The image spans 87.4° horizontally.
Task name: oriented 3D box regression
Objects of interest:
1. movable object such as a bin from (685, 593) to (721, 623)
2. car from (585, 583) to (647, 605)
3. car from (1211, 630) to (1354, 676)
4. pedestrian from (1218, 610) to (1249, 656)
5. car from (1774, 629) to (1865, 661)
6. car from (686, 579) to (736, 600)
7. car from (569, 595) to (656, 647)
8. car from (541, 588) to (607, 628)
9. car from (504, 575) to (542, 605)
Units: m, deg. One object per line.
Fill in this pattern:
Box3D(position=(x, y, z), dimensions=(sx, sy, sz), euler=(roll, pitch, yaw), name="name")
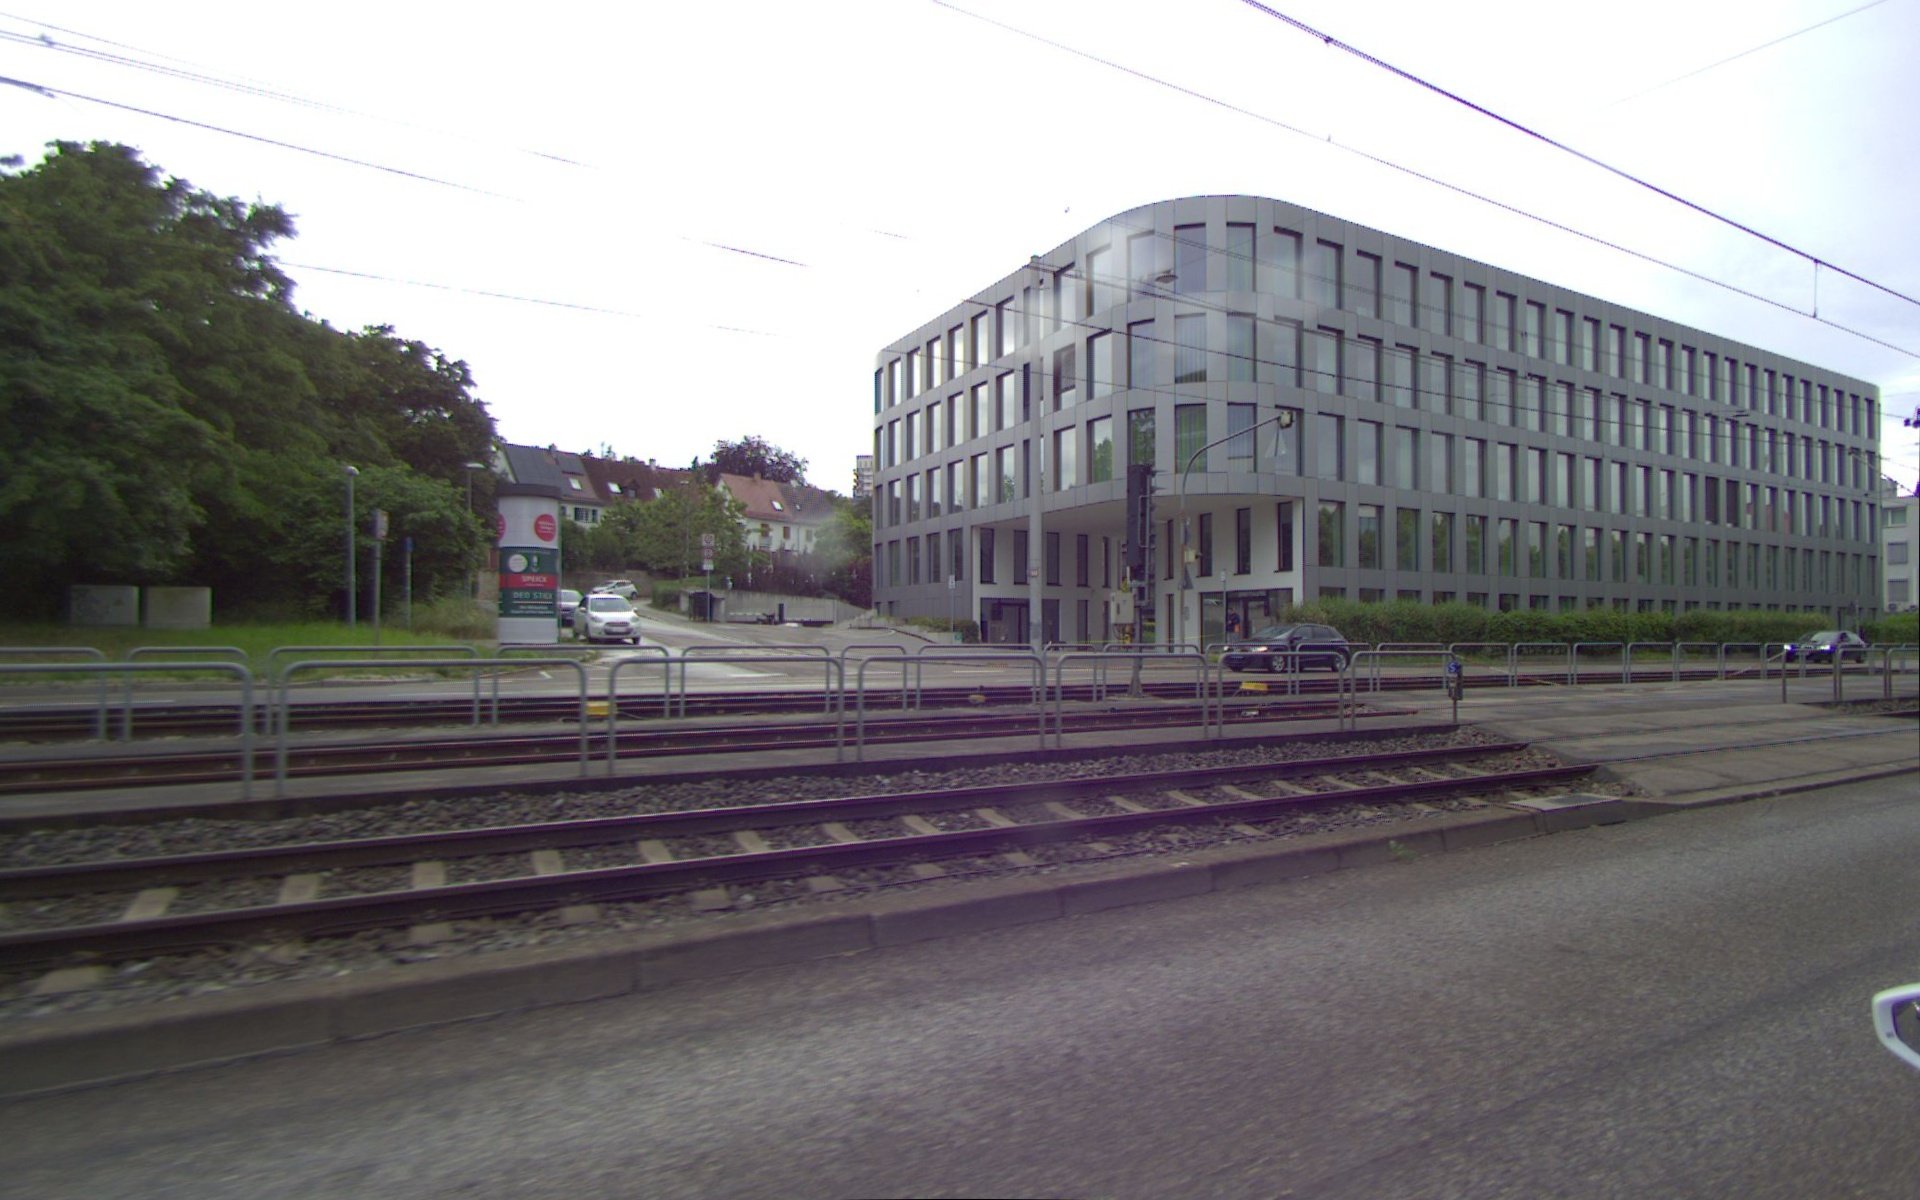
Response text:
Box3D(position=(-12.649, 0.401, 49.447), dimensions=(1.261, 1.414, 1.258), euler=(2, 1, -37), name="movable object such as a bin")
Box3D(position=(-25.039, -0.429, 73.312), dimensions=(1.910, 1.510, 4.020), euler=(3, 0, 29), name="car")
Box3D(position=(9.277, 1.515, 28.837), dimensions=(3.941, 1.260, 1.748), euler=(2, -2, -30), name="car")
Box3D(position=(10.173, 1.217, 37.366), dimensions=(0.835, 1.669, 0.721), euler=(2, -1, -29), name="pedestrian")
Box3D(position=(38.158, 2.011, 44.564), dimensions=(4.209, 1.364, 1.790), euler=(2, -2, -30), name="car")
Box3D(position=(-20.197, -0.838, 81.600), dimensions=(1.862, 1.512, 3.872), euler=(1, -1, 27), name="car")
Box3D(position=(-11.484, 0.664, 33.089), dimensions=(1.904, 1.472, 3.898), euler=(2, 1, -31), name="car")
Box3D(position=(-16.076, 0.306, 41.742), dimensions=(1.852, 1.472, 4.052), euler=(2, 1, -31), name="car")
Box3D(position=(-26.269, -0.605, 60.323), dimensions=(1.920, 1.683, 4.127), euler=(2, 1, -26), name="car")
